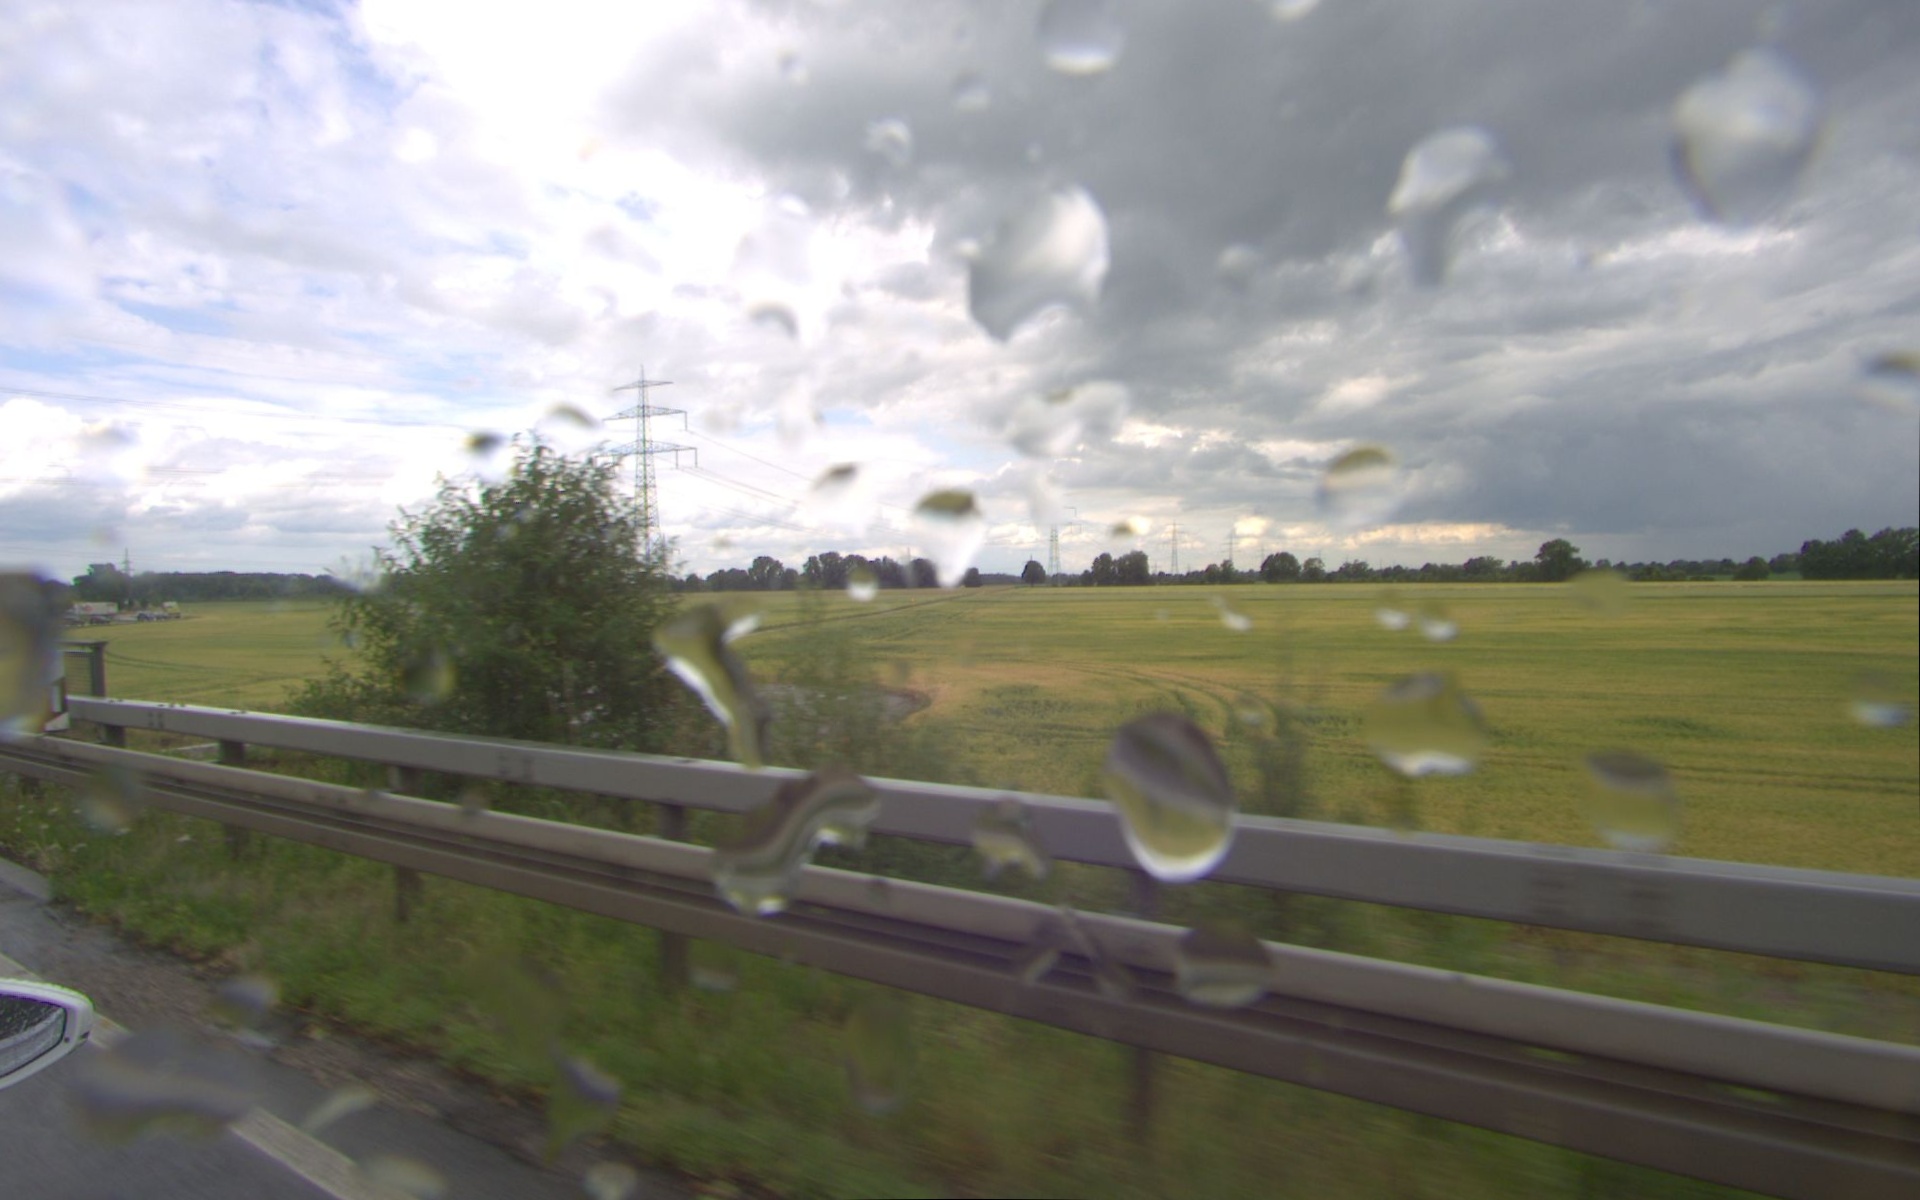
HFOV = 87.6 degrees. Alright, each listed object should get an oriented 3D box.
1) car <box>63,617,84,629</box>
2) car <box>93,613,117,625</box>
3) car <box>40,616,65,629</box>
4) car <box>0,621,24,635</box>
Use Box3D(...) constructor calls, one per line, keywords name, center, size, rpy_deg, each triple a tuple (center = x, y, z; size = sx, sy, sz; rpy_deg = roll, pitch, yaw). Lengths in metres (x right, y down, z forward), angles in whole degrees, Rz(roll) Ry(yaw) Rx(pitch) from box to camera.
Box3D(name="car", center=(-153.310, 4.038, 173.187), size=(1.971, 2.039, 3.981), rpy_deg=(0, -2, -30))
Box3D(name="car", center=(-156.644, 3.501, 183.457), size=(1.966, 2.039, 3.991), rpy_deg=(0, -2, -20))
Box3D(name="car", center=(-149.538, 3.723, 164.991), size=(2.201, 2.039, 3.981), rpy_deg=(0, -2, -30))
Box3D(name="car", center=(-143.461, 4.299, 151.371), size=(1.971, 2.039, 3.982), rpy_deg=(0, -2, -29))
